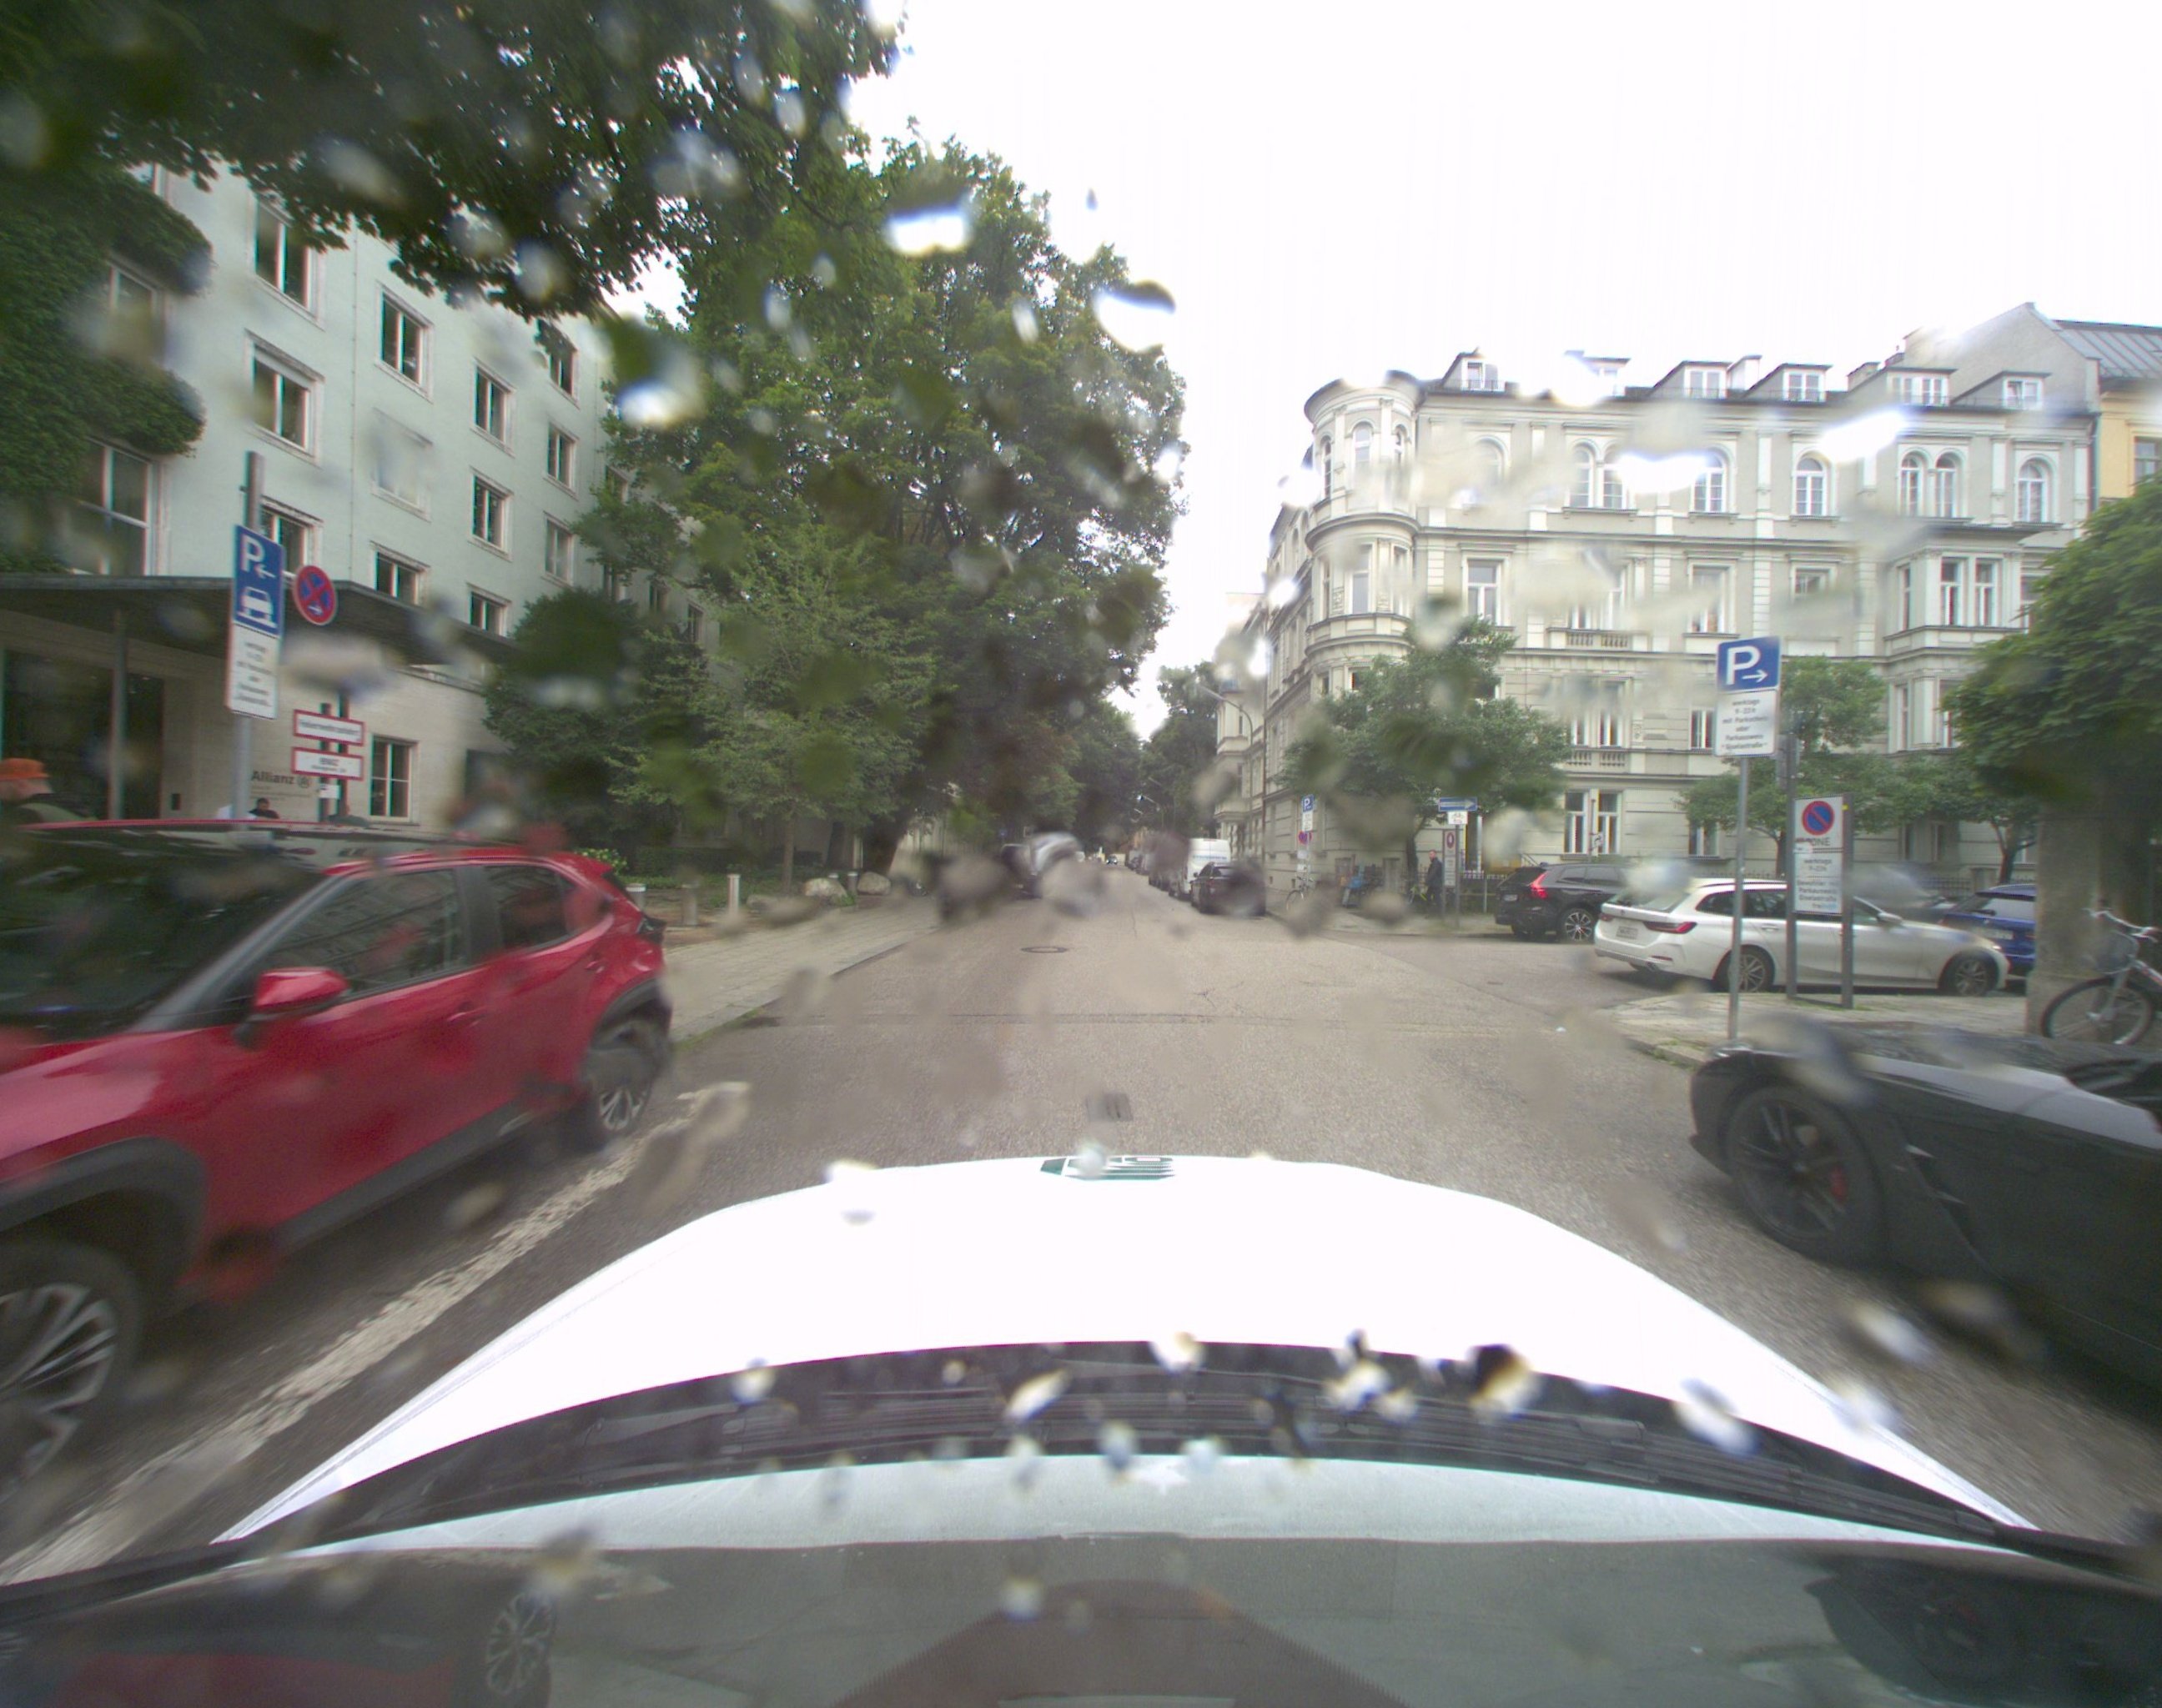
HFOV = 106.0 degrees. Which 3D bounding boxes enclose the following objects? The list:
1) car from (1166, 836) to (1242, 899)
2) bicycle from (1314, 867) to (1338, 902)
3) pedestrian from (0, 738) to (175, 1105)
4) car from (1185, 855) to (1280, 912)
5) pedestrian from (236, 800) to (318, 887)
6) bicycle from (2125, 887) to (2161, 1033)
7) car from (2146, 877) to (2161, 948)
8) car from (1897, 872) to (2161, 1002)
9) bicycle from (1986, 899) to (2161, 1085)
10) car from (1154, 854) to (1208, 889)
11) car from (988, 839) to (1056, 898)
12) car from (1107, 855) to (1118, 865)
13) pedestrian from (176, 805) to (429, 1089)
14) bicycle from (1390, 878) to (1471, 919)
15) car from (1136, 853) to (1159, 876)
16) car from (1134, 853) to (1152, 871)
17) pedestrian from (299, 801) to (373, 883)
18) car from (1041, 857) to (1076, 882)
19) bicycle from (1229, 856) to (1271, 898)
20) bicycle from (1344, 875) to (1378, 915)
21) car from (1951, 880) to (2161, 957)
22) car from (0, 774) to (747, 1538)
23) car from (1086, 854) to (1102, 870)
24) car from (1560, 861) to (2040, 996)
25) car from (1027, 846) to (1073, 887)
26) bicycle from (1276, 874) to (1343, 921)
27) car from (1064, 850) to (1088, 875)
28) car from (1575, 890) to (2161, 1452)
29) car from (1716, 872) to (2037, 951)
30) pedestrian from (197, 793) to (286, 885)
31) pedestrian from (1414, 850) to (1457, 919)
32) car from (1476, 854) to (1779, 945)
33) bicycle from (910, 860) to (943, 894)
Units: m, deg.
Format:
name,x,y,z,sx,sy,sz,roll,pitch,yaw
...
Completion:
name,x,y,z,sx,sy,sz,roll,pitch,yaw
car,4.625,0.503,31.382,2.196,2.208,4.854,0,-1,0
bicycle,8.028,0.983,26.700,0.542,1.060,1.756,1,0,11
pedestrian,-5.790,0.335,4.429,0.710,1.852,0.796,2,-1,-1
car,4.394,0.824,24.416,2.263,1.546,4.591,0,-1,3
pedestrian,-16.682,-0.209,16.923,0.748,1.753,0.900,1,-2,-3
bicycle,10.484,0.971,7.246,1.909,1.275,0.467,2,1,-4
car,25.711,1.291,17.169,4.310,1.541,1.730,2,-4,-2
car,14.594,1.113,11.225,4.846,1.506,1.934,2,1,-2
bicycle,7.613,0.965,5.668,0.541,1.225,1.773,1,-1,-6
car,4.851,0.845,40.223,2.131,1.630,4.315,0,-1,0
car,-2.146,0.525,31.341,2.241,1.956,5.450,3,0,-1
car,6.061,1.134,158.381,1.985,1.783,4.004,1,0,4
pedestrian,-4.633,0.522,4.914,0.712,1.548,0.751,3,-1,-4
bicycle,9.331,1.178,21.807,1.914,1.028,0.557,1,1,4
car,6.033,0.940,74.426,1.985,1.975,4.004,1,0,4
car,7.067,0.928,93.605,1.985,2.013,4.004,1,0,4
pedestrian,-16.538,-0.253,18.102,0.748,1.753,0.900,1,-2,-3
car,-1.434,0.984,54.467,2.062,1.519,4.238,3,0,1
bicycle,6.385,0.852,30.859,0.709,1.515,2.028,1,0,-15
bicycle,7.937,1.141,23.145,0.428,1.028,1.892,1,1,3
car,21.048,1.335,17.160,3.706,1.517,1.707,1,-2,-3
car,-3.182,0.596,3.168,1.882,1.590,4.525,3,0,-1
car,1.800,1.169,115.989,2.041,2.154,4.311,3,0,-1
car,9.522,0.944,11.083,4.892,1.531,1.912,1,2,-2
car,-1.592,0.631,43.058,2.177,1.956,5.164,3,0,-1
bicycle,5.834,1.089,20.937,0.655,1.028,2.192,1,1,-14
car,-0.433,0.804,76.059,1.995,2.186,4.696,3,0,1
car,3.804,0.880,2.282,1.994,1.319,4.593,-1,0,-1
car,16.422,1.172,16.956,5.150,1.505,1.808,1,-3,-4
pedestrian,-16.428,-0.290,15.965,0.896,1.753,0.752,1,0,-2
pedestrian,8.943,0.758,20.542,0.963,1.689,0.865,0,-1,25
car,11.167,0.962,16.895,5.023,1.653,1.942,2,-4,-2
bicycle,-5.243,0.757,27.662,0.630,1.102,1.769,2,-1,3
